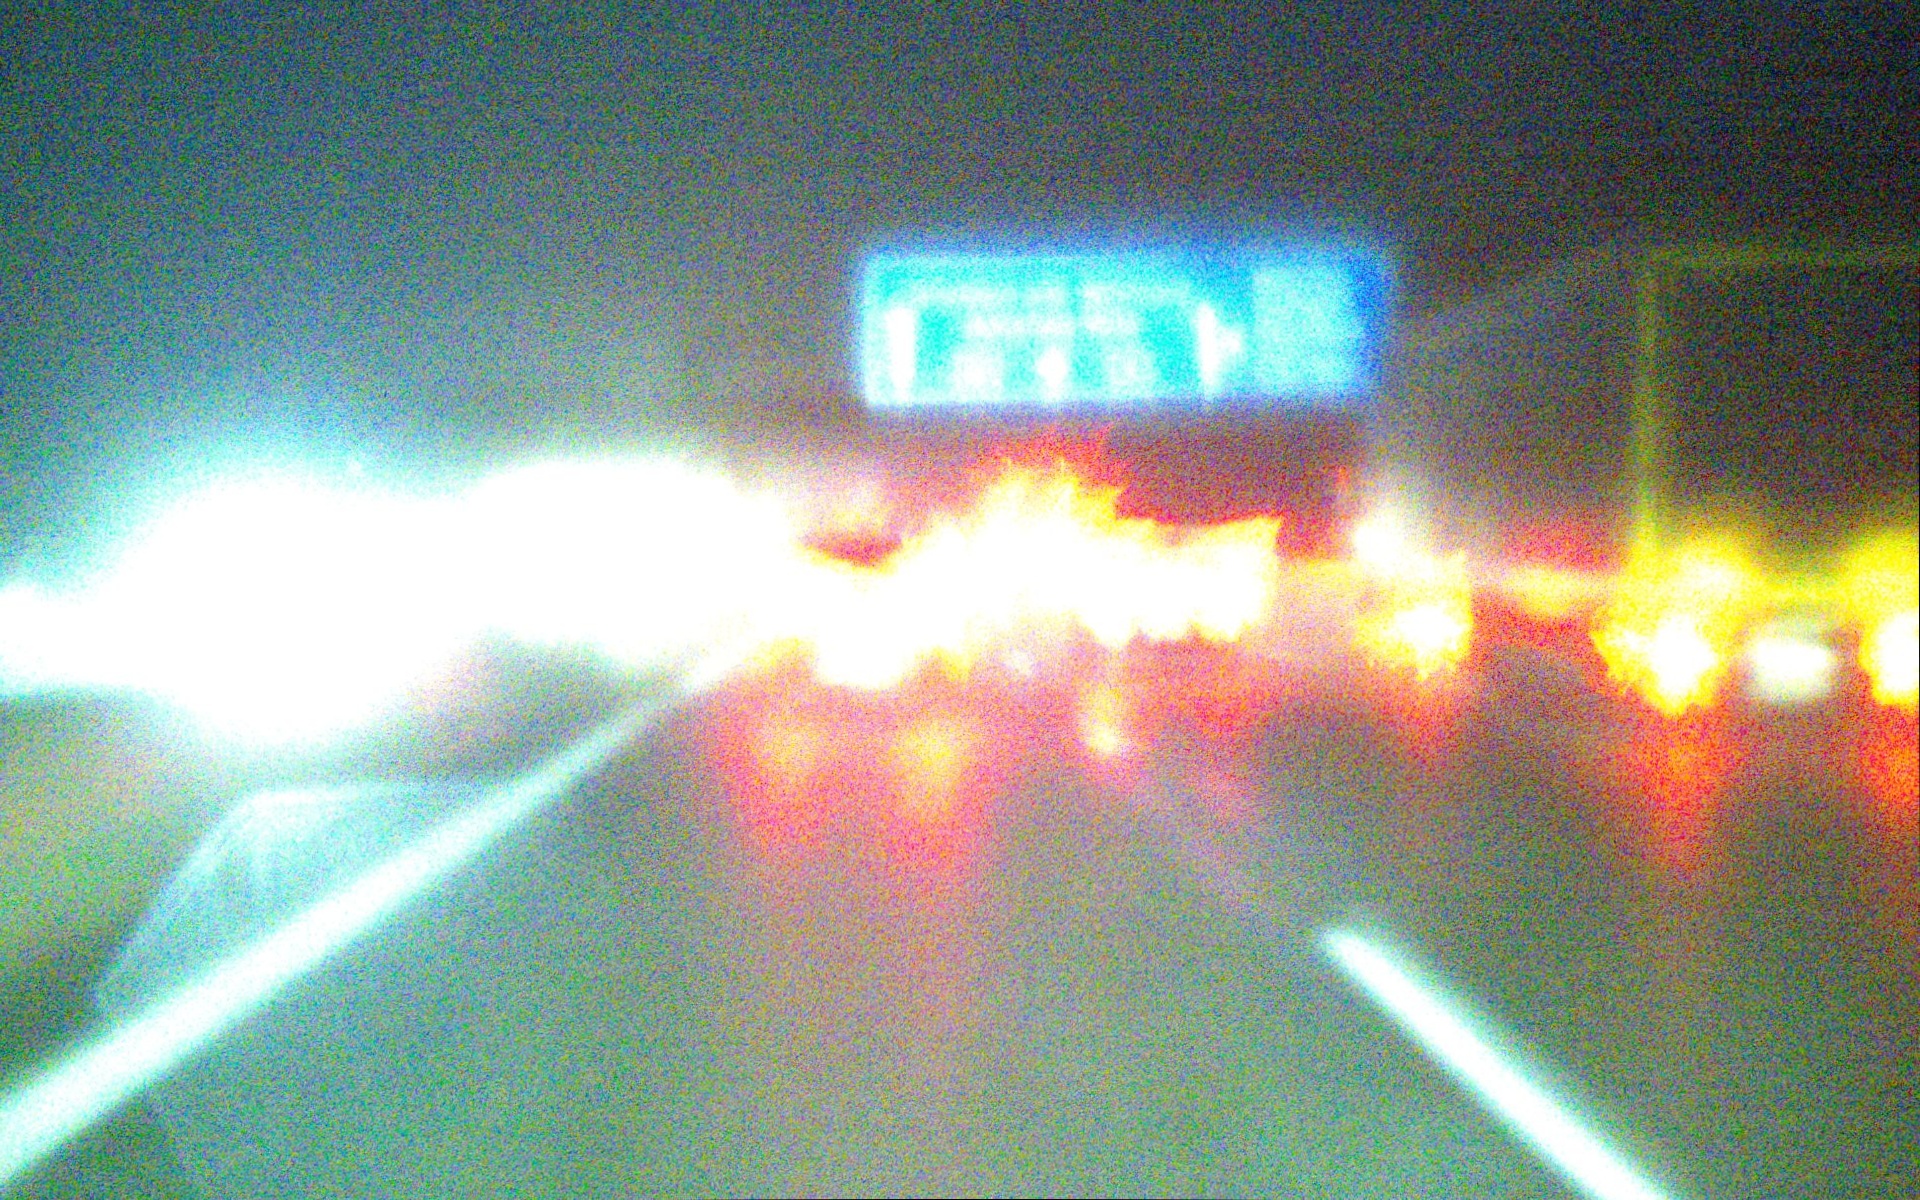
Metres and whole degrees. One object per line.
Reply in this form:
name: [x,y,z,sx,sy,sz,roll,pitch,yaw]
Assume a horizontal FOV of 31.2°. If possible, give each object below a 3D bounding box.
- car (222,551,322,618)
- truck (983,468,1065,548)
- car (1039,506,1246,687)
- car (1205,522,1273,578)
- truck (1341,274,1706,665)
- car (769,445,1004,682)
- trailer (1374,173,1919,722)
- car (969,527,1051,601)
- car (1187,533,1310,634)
car: [-19.249,-0.455,96.312,1.993,1.755,4.960,-2,1,-3]
truck: [2.738,-4.001,151.003,3.037,3.286,11.382,-2,1,-1]
car: [2.135,-0.080,41.293,1.993,2.007,4.001,-2,1,-3]
car: [10.549,-1.897,130.123,1.993,2.007,4.001,-2,1,-3]
truck: [6.384,-1.460,39.866,3.041,4.094,5.799,-2,1,-1]
car: [-0.685,-0.352,31.614,1.993,2.007,4.000,1,1,-1]
trailer: [6.535,-1.310,32.980,3.041,4.094,13.830,-2,1,-1]
car: [1.393,-1.038,97.870,1.993,2.007,4.001,-2,1,-3]
car: [6.087,-0.374,72.920,1.993,2.007,4.001,-2,1,-3]
